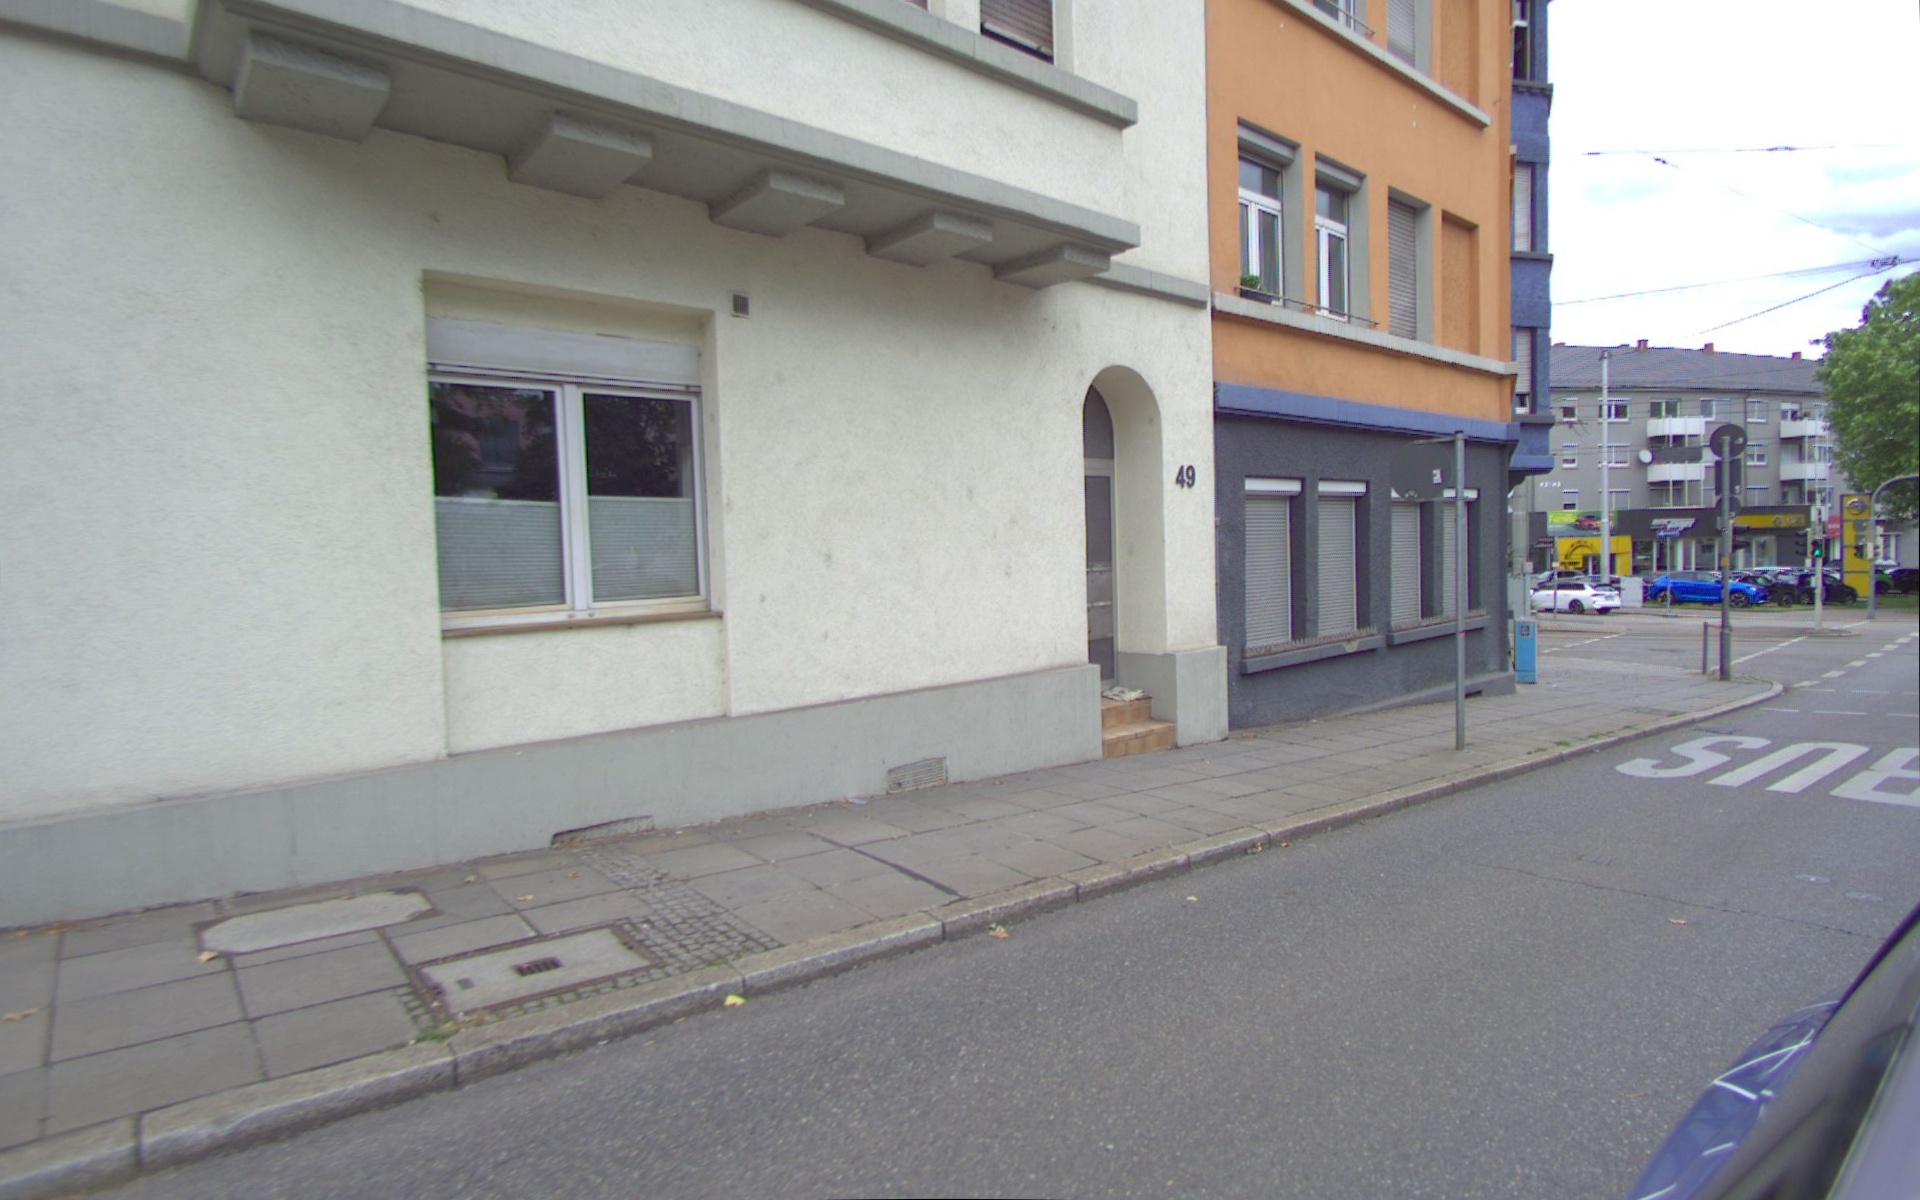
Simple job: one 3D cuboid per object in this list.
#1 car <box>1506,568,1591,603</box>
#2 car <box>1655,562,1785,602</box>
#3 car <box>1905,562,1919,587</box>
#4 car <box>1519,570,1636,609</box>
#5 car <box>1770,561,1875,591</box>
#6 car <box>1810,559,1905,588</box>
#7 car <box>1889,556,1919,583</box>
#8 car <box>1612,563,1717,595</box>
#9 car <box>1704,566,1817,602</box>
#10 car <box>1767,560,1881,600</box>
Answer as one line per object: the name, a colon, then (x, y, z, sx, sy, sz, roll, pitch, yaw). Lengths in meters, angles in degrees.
car: (31.991, -0.804, 54.992, 4.157, 1.802, 1.717, 0, 2, -21)
car: (33.642, -0.814, 44.899, 1.796, 1.596, 4.257, 0, 3, -39)
car: (59.863, -1.529, 60.892, 3.943, 1.523, 1.855, 1, 2, 16)
car: (27.193, -0.517, 44.725, 1.878, 1.553, 4.152, 0, 3, -20)
car: (47.161, -1.326, 55.398, 1.827, 1.569, 4.002, -1, 2, -33)
car: (49.621, -1.502, 56.027, 3.569, 1.572, 1.610, 1, 2, 22)
car: (57.333, -1.795, 59.200, 3.940, 1.523, 1.856, 1, 2, 13)
car: (36.020, -1.121, 51.813, 1.826, 1.569, 4.006, -1, 2, -29)
car: (37.255, -0.764, 47.161, 3.919, 1.495, 1.832, 1, 2, -7)
car: (42.325, -0.985, 49.613, 4.084, 1.625, 1.835, 1, 7, -8)
